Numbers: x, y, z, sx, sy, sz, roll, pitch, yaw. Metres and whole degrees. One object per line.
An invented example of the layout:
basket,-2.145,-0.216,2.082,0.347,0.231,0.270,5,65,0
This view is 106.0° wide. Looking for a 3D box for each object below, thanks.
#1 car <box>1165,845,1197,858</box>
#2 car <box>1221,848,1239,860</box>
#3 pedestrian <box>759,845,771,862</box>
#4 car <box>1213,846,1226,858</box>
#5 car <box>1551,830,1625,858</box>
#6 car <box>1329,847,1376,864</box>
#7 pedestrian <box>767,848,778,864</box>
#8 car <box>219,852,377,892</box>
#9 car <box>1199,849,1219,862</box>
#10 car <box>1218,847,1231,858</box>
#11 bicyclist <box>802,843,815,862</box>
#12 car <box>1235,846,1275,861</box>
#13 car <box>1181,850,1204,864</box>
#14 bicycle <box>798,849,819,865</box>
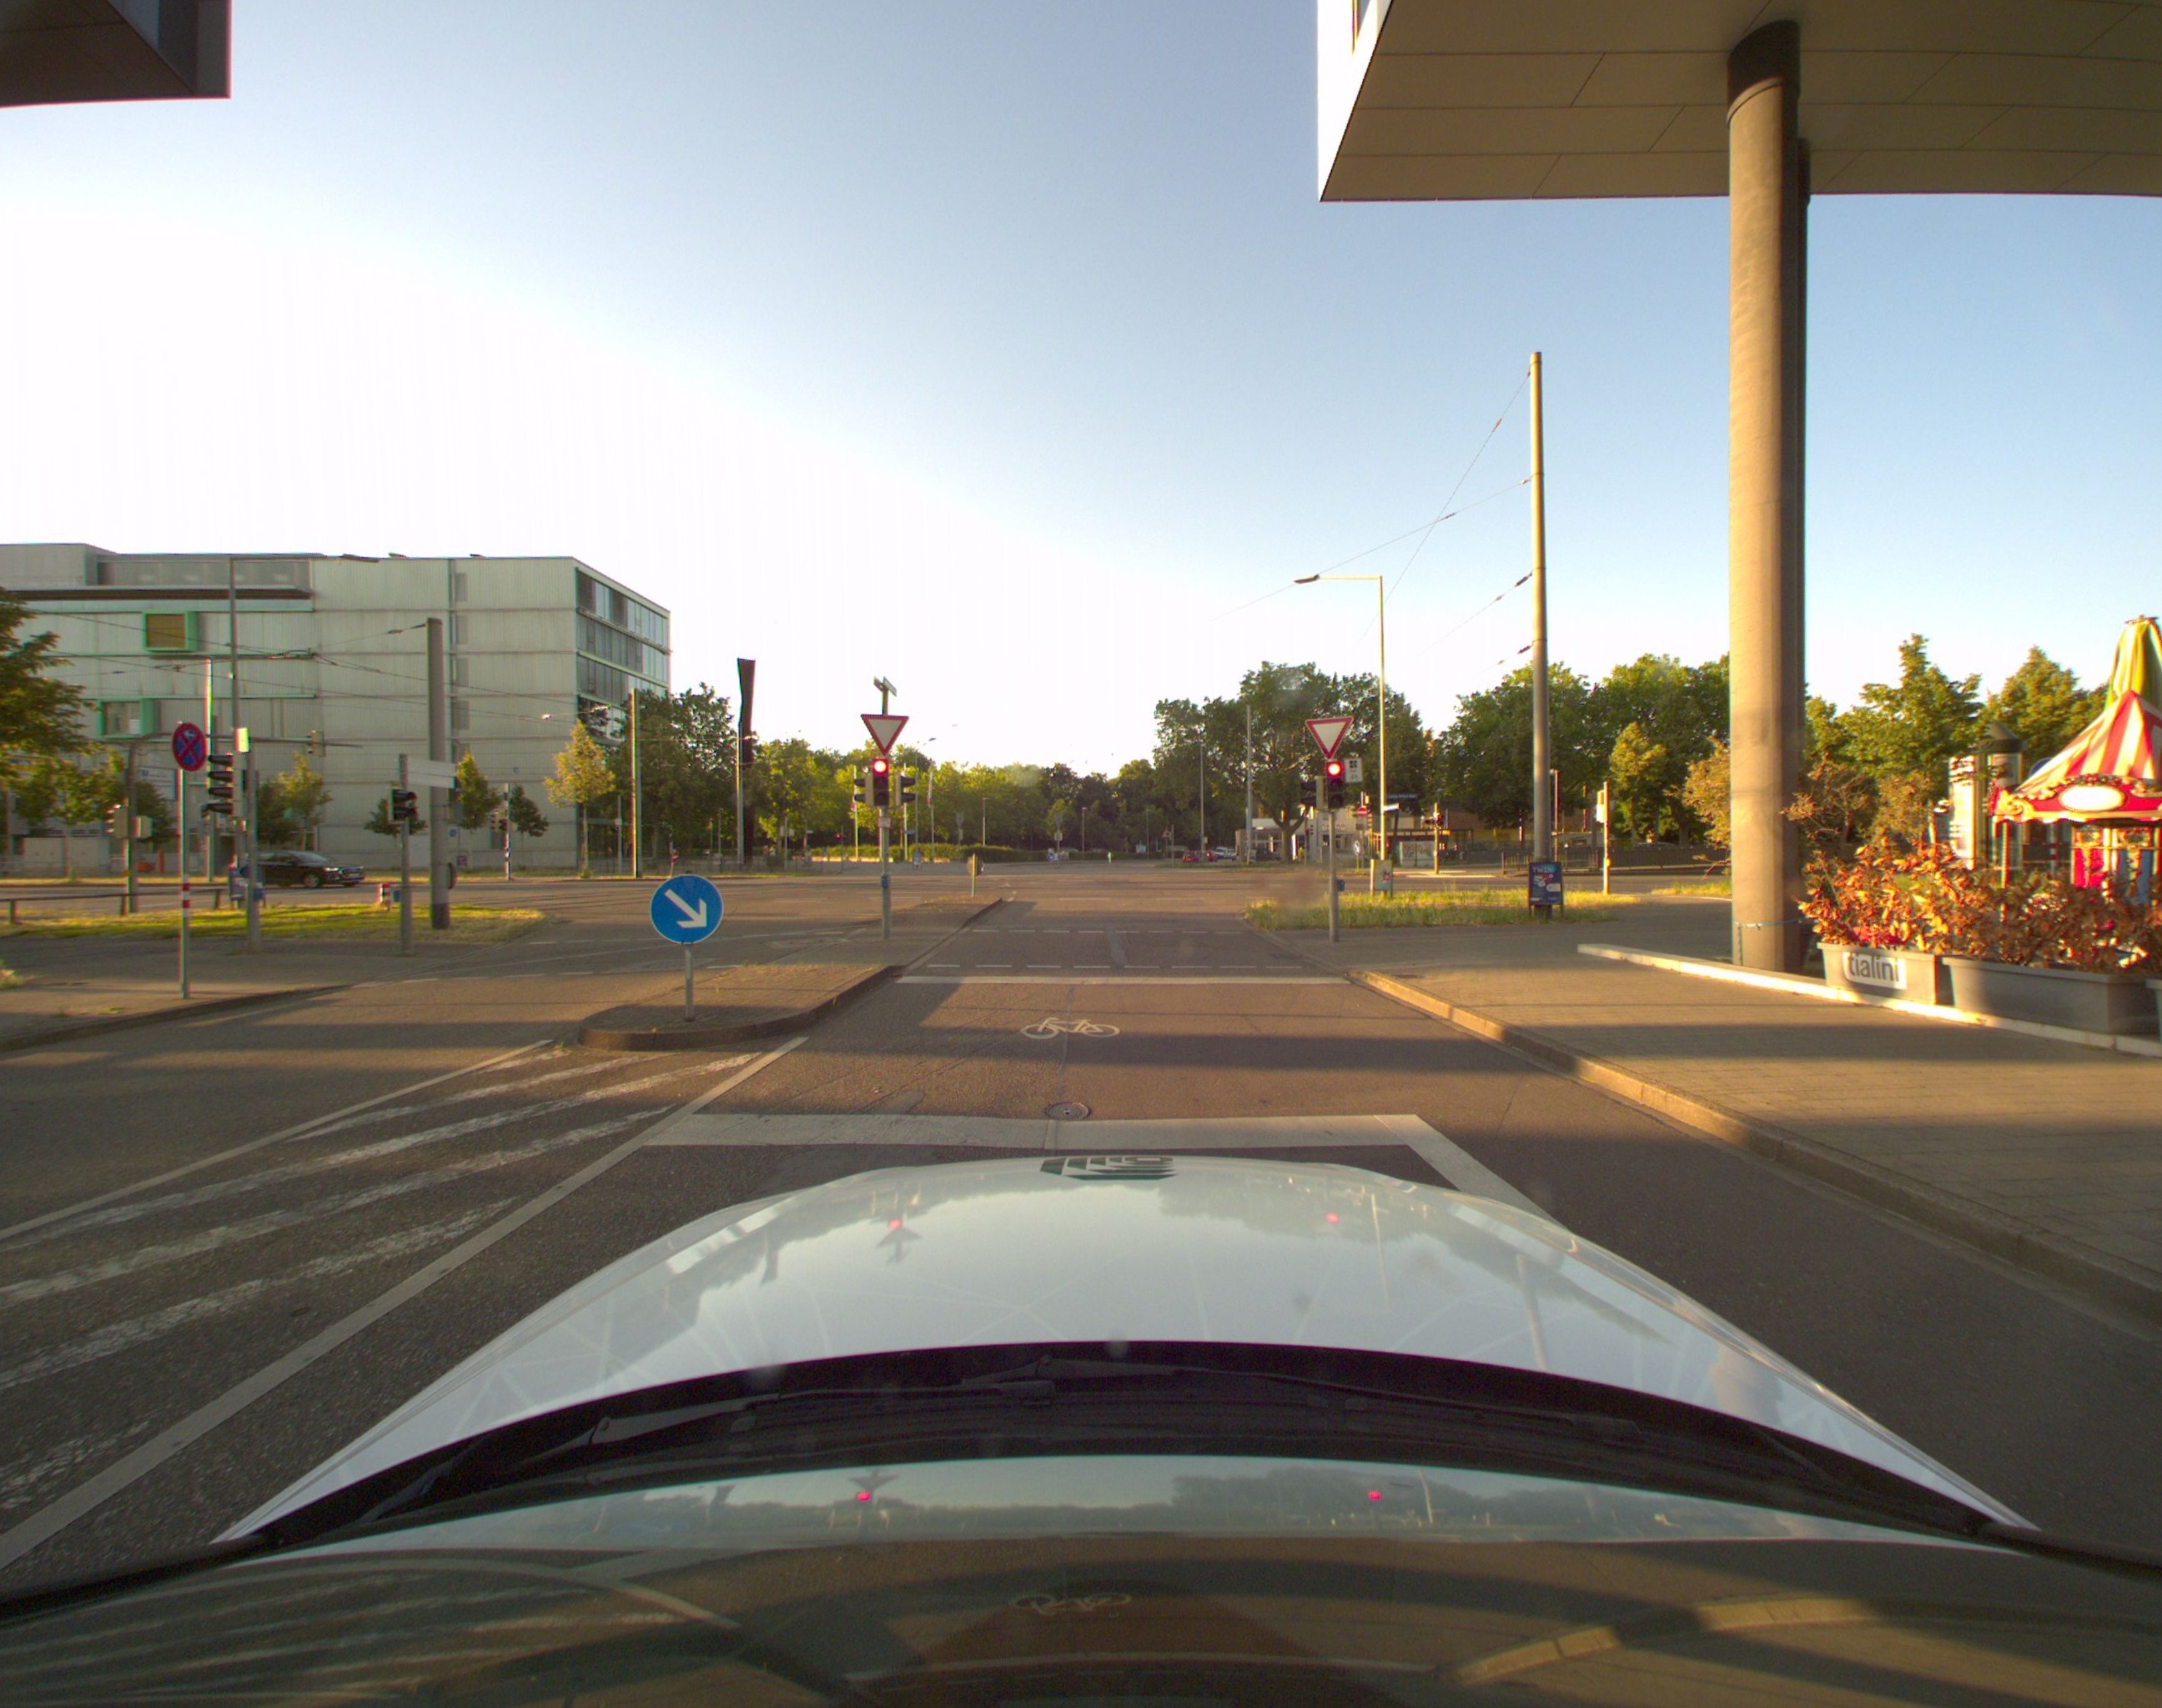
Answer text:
car,15.424,-0.358,125.733,4.753,2.006,2.002,-1,-1,3
car,21.095,-0.026,115.303,1.978,1.662,4.018,-1,-1,17
pedestrian,-34.167,-0.065,88.033,0.852,1.744,0.835,-1,0,26
car,22.278,-0.278,130.883,1.850,1.794,4.013,-1,-1,12
car,47.914,-0.905,77.041,5.561,2.551,2.235,-1,0,9
car,23.938,0.148,71.870,3.715,1.440,1.669,-1,-1,11
pedestrian,-33.628,0.185,88.758,0.852,1.744,0.835,-1,0,30
car,-32.505,0.730,33.903,4.467,1.557,1.986,-1,0,-4
car,16.214,0.192,103.184,1.978,1.662,4.018,-1,-1,17
car,23.942,-0.286,135.741,1.849,1.794,4.015,-1,-1,14
bicyclist,-24.628,-0.105,73.644,0.757,1.709,0.908,-1,0,-44
car,18.929,-0.008,88.904,4.194,1.552,2.005,-1,-1,9
car,13.111,0.356,95.563,1.978,1.662,4.018,-1,-1,17
bicycle,-24.652,0.272,73.657,0.736,1.341,2.658,-1,0,-42
